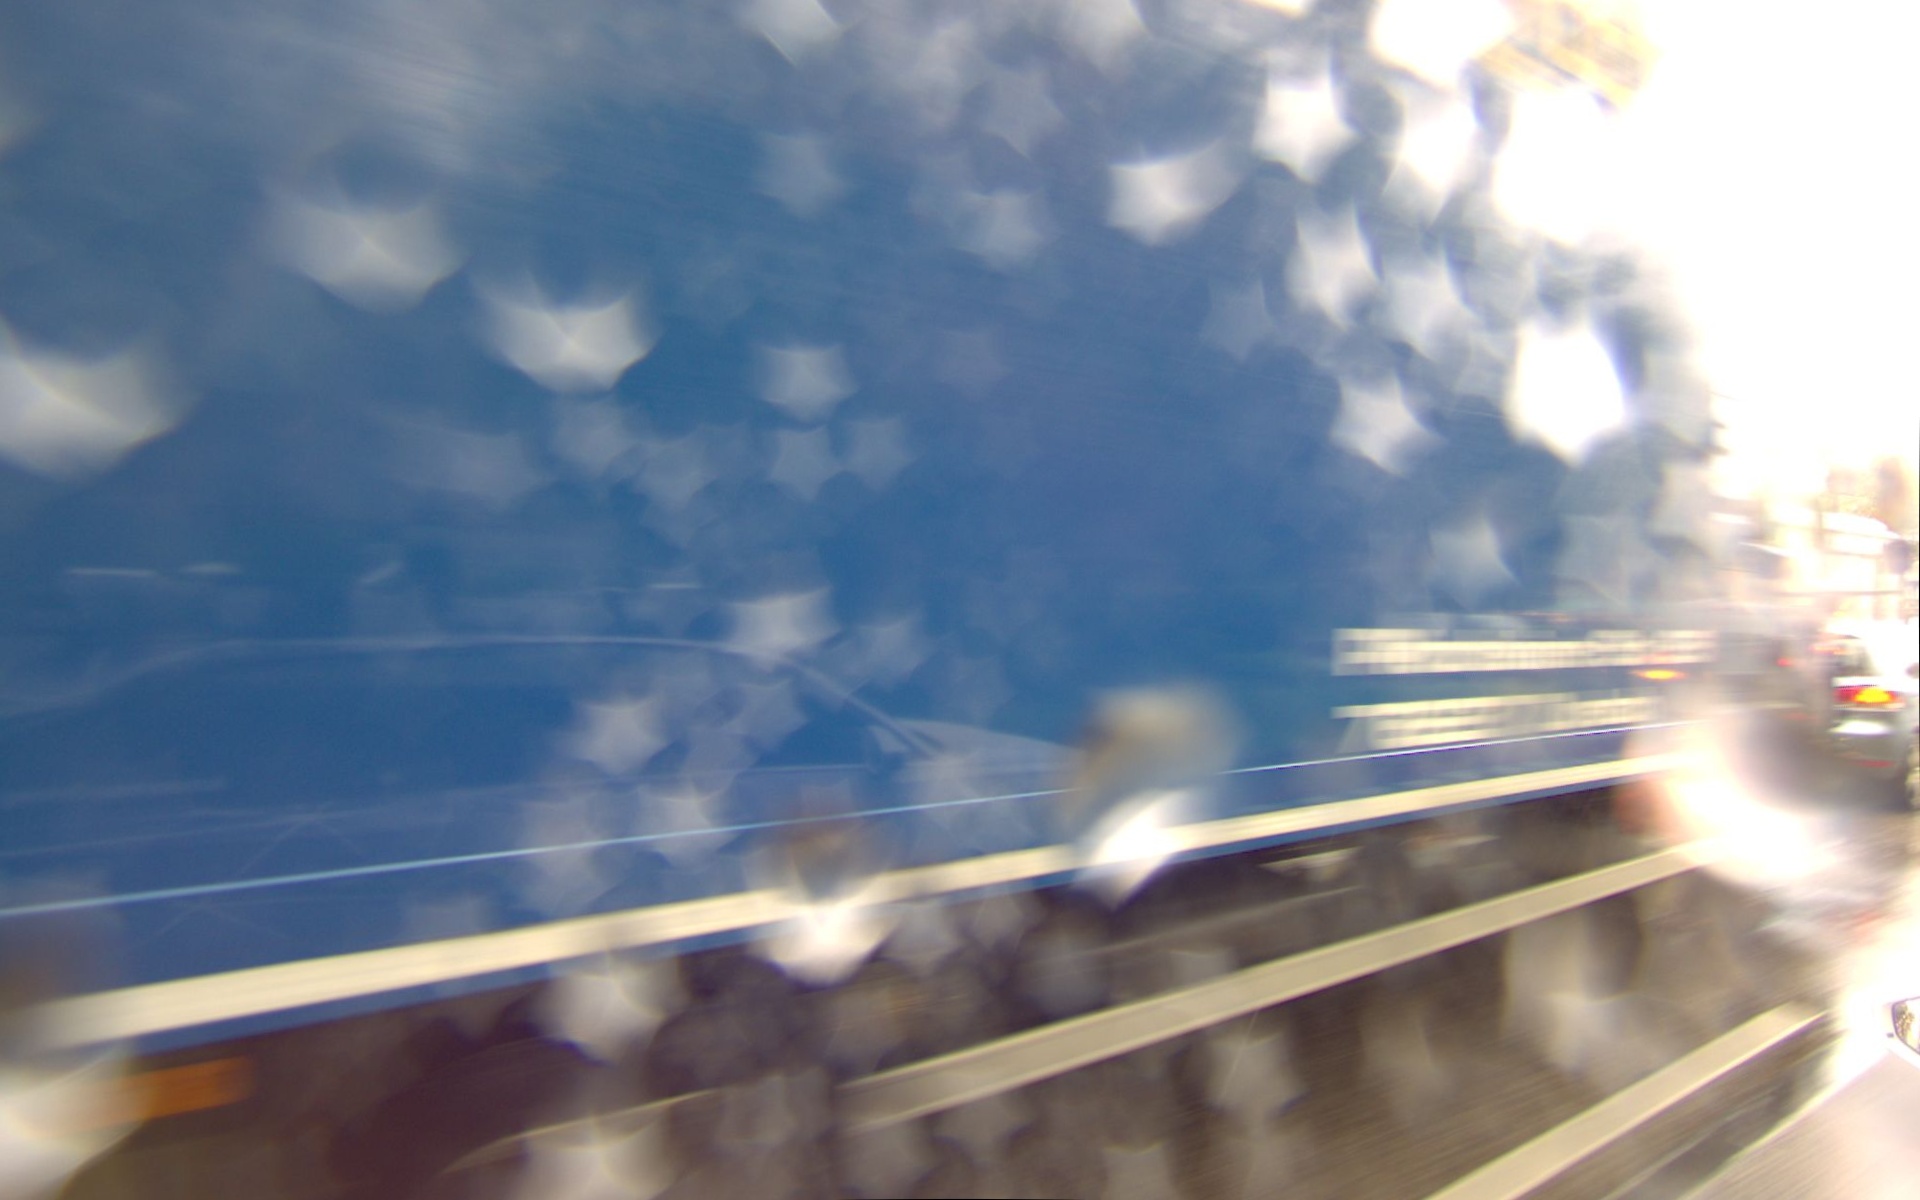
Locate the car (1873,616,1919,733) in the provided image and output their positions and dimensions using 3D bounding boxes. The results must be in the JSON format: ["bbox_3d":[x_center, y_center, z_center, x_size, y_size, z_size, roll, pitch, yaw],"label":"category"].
[{"bbox_3d":[14.486,1.009,13.737,4.221,1.492,1.981,0,1,-34],"label":"car"}]

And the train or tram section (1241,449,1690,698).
[{"bbox_3d":[8.954,-0.293,17.219,8.891,3.329,2.960,0,-1,-35],"label":"train or tram section"}]

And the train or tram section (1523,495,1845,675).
[{"bbox_3d":[16.253,-0.211,22.272,8.891,3.329,2.960,0,-1,-35],"label":"train or tram section"}]

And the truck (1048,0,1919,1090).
[{"bbox_3d":[2.837,-0.419,5.338,3.959,3.956,2.564,1,0,-34],"label":"truck"}]

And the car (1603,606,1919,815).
[{"bbox_3d":[8.100,0.858,9.456,4.089,1.558,1.982,0,-1,-34],"label":"car"}]

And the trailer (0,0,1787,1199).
[{"bbox_3d":[-0.477,-0.493,3.010,7.559,3.952,2.574,1,0,-35],"label":"trailer"}]
